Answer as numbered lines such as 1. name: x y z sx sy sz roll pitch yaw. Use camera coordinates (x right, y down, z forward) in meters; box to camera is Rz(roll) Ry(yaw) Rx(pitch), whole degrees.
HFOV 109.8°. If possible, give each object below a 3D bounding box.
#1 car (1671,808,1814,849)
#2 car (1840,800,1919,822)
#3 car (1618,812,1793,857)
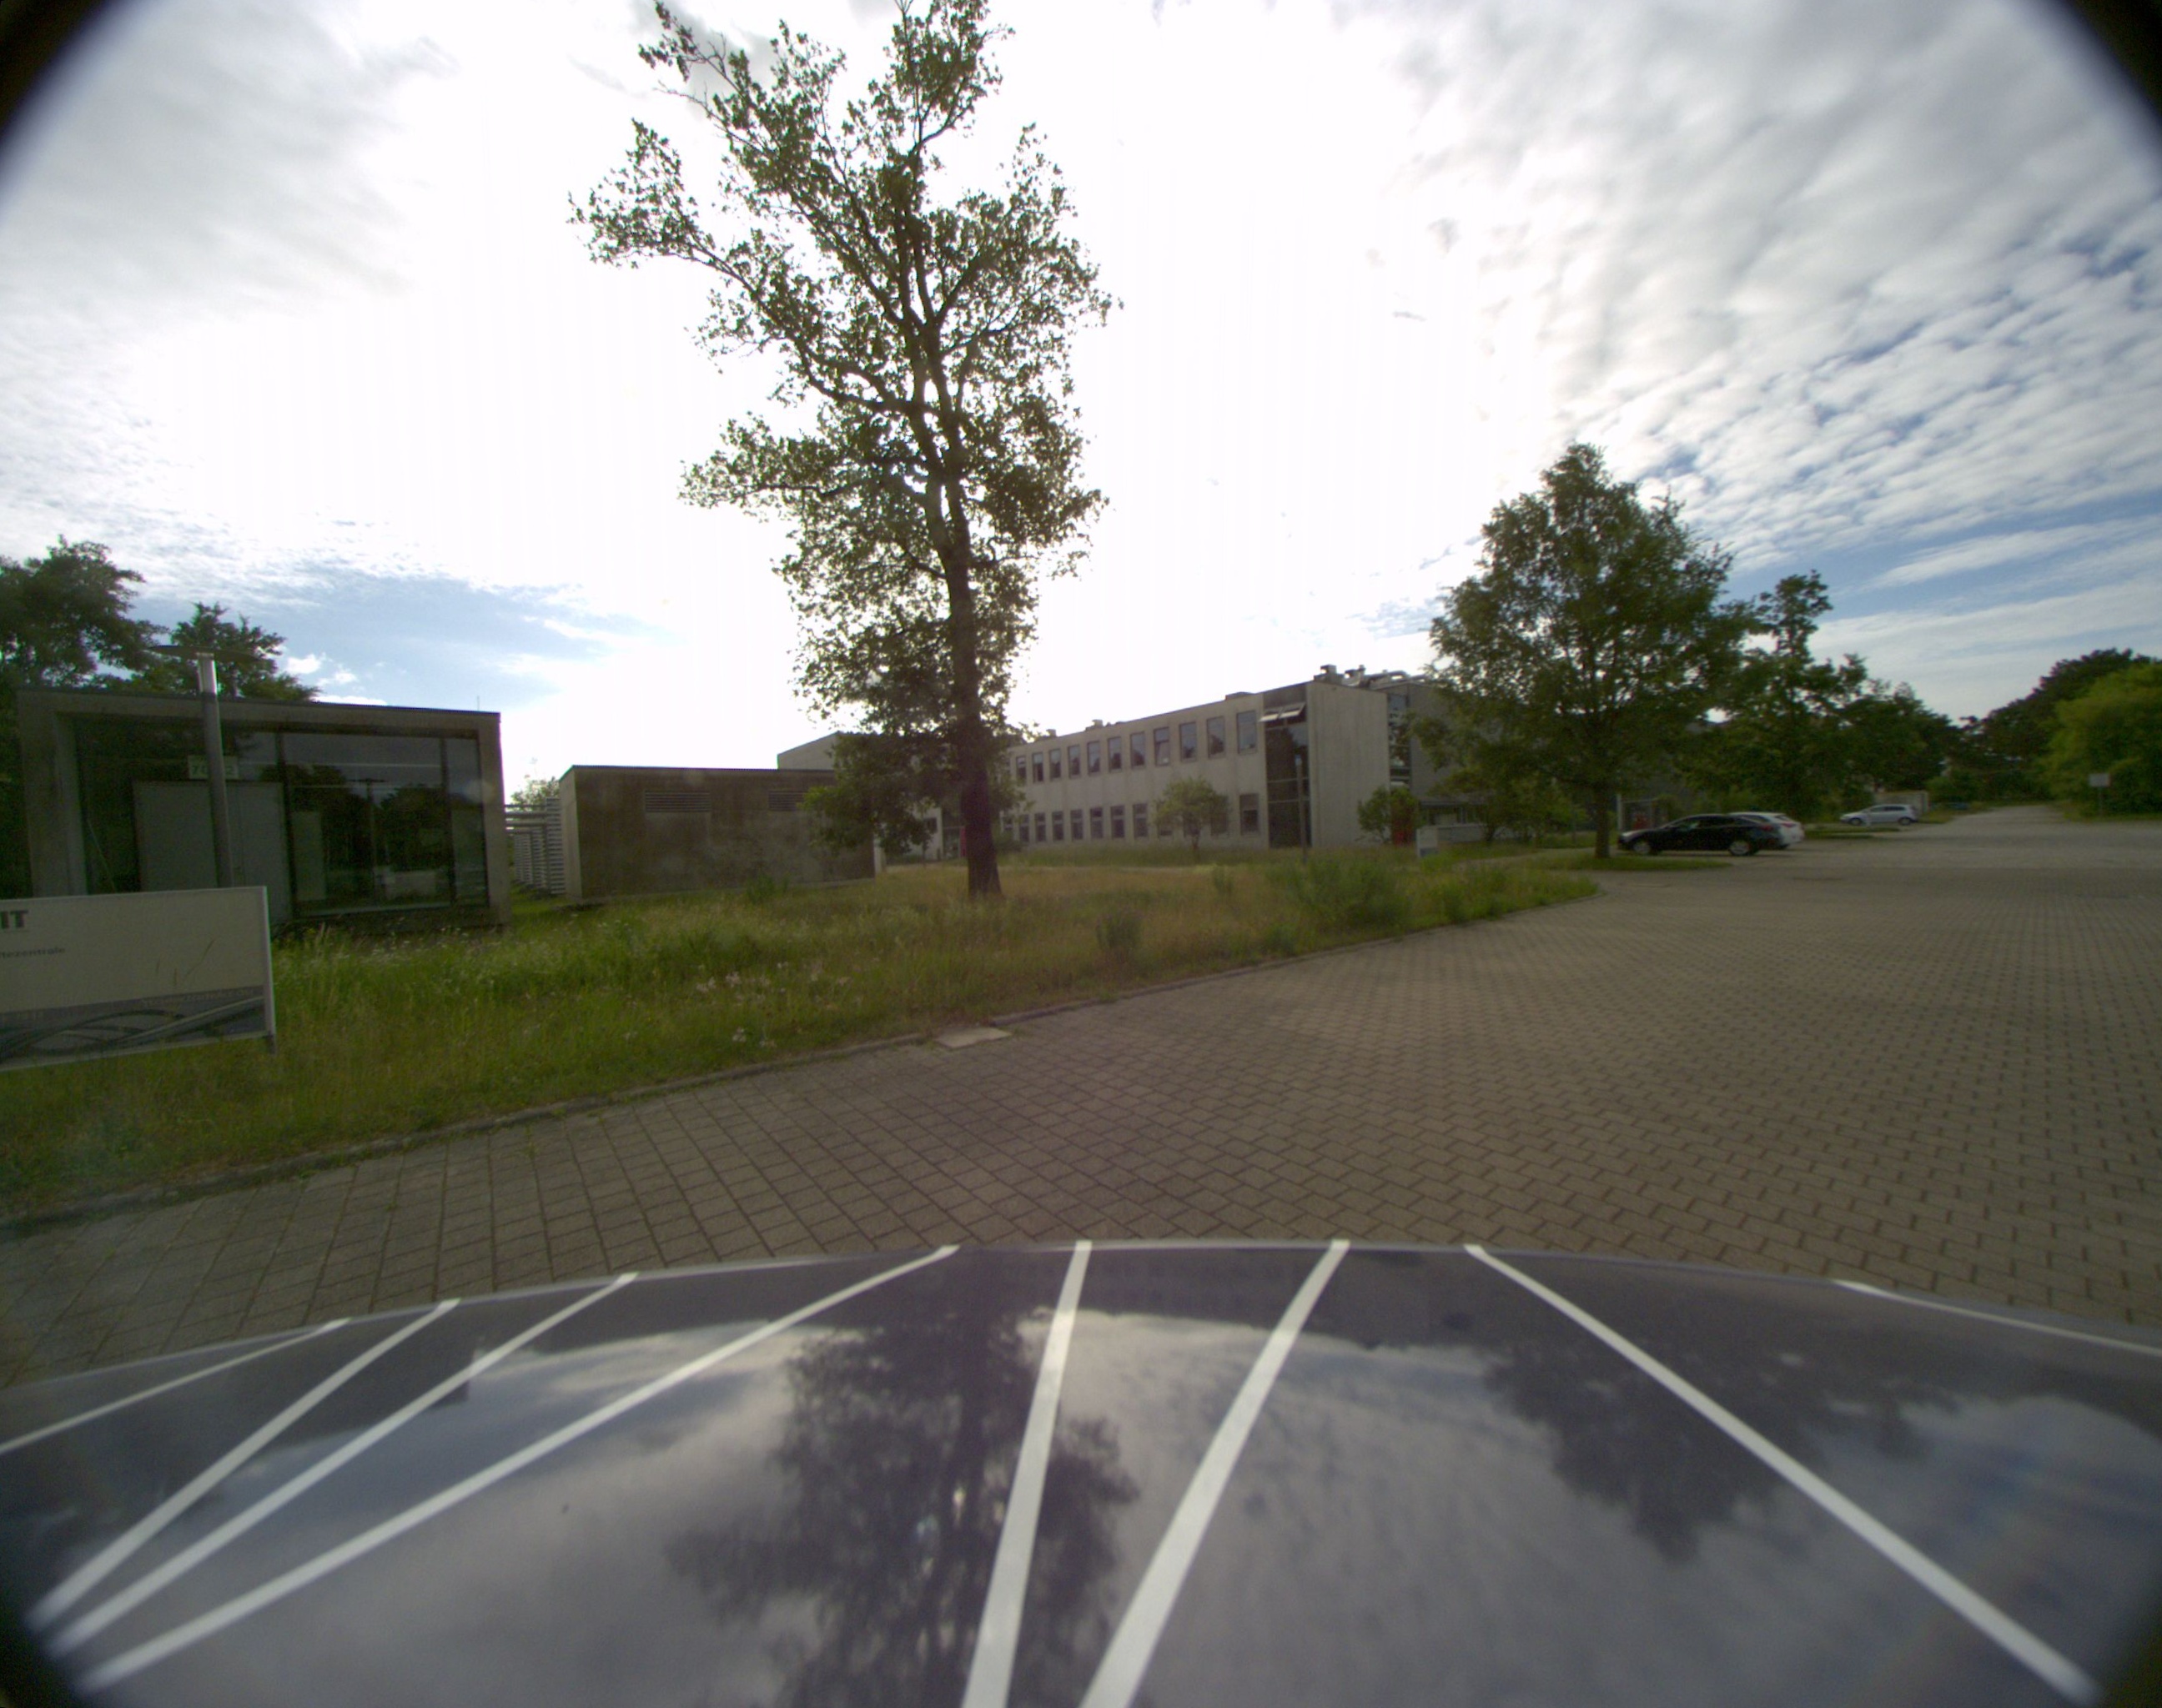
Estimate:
1. car: 26.111 -0.981 30.093 1.886 1.458 3.977 -4 3 -39
2. car: 62.078 -3.354 59.118 1.942 1.616 4.122 -5 4 -41
3. car: 21.916 -0.704 26.828 1.947 1.439 4.465 -4 3 -39
